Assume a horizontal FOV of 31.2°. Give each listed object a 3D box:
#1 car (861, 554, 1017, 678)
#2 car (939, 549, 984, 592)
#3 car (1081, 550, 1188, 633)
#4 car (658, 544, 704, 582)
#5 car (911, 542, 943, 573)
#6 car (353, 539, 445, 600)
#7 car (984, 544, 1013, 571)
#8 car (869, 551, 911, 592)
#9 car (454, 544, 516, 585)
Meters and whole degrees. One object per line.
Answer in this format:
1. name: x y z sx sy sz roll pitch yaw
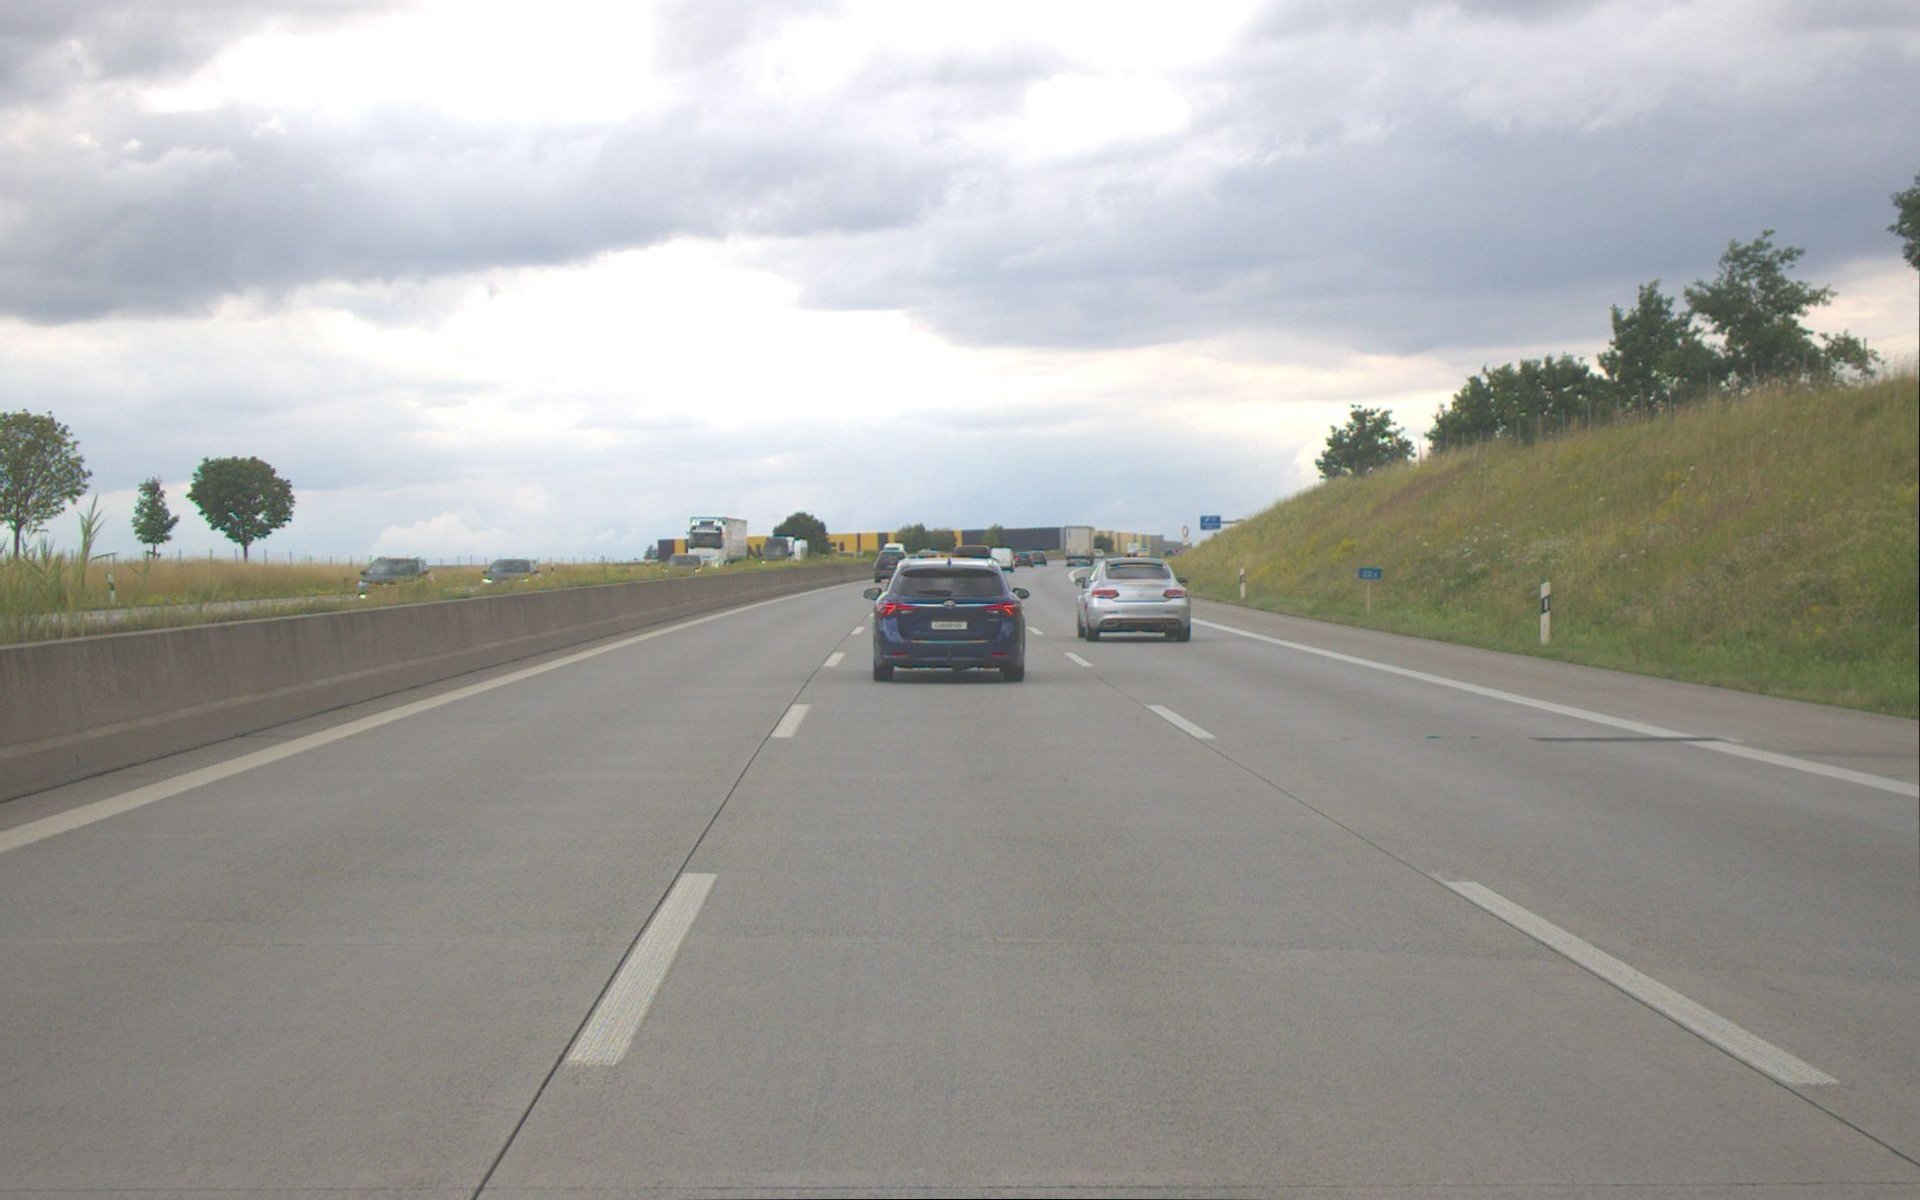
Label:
1. car: -0.211 0.164 41.242 1.774 1.408 4.000 0 0 1
2. car: 0.075 -1.376 163.532 1.993 2.007 4.000 0 0 -2
3. car: 3.028 -0.160 59.977 1.789 1.399 4.221 0 0 2
4. car: -12.072 -1.619 149.004 1.689 1.604 4.000 0 1 0
5. car: -2.212 -2.838 228.606 1.993 2.007 4.000 0 0 -2
6. car: -15.946 -0.882 97.893 1.993 1.678 4.063 0 1 0
7. car: 2.907 -3.172 257.852 1.994 2.007 4.000 0 0 3
8. car: -3.540 -1.434 173.479 2.046 2.007 4.000 0 0 -2
9. car: -16.811 -1.270 121.797 1.661 1.394 4.000 0 1 0
